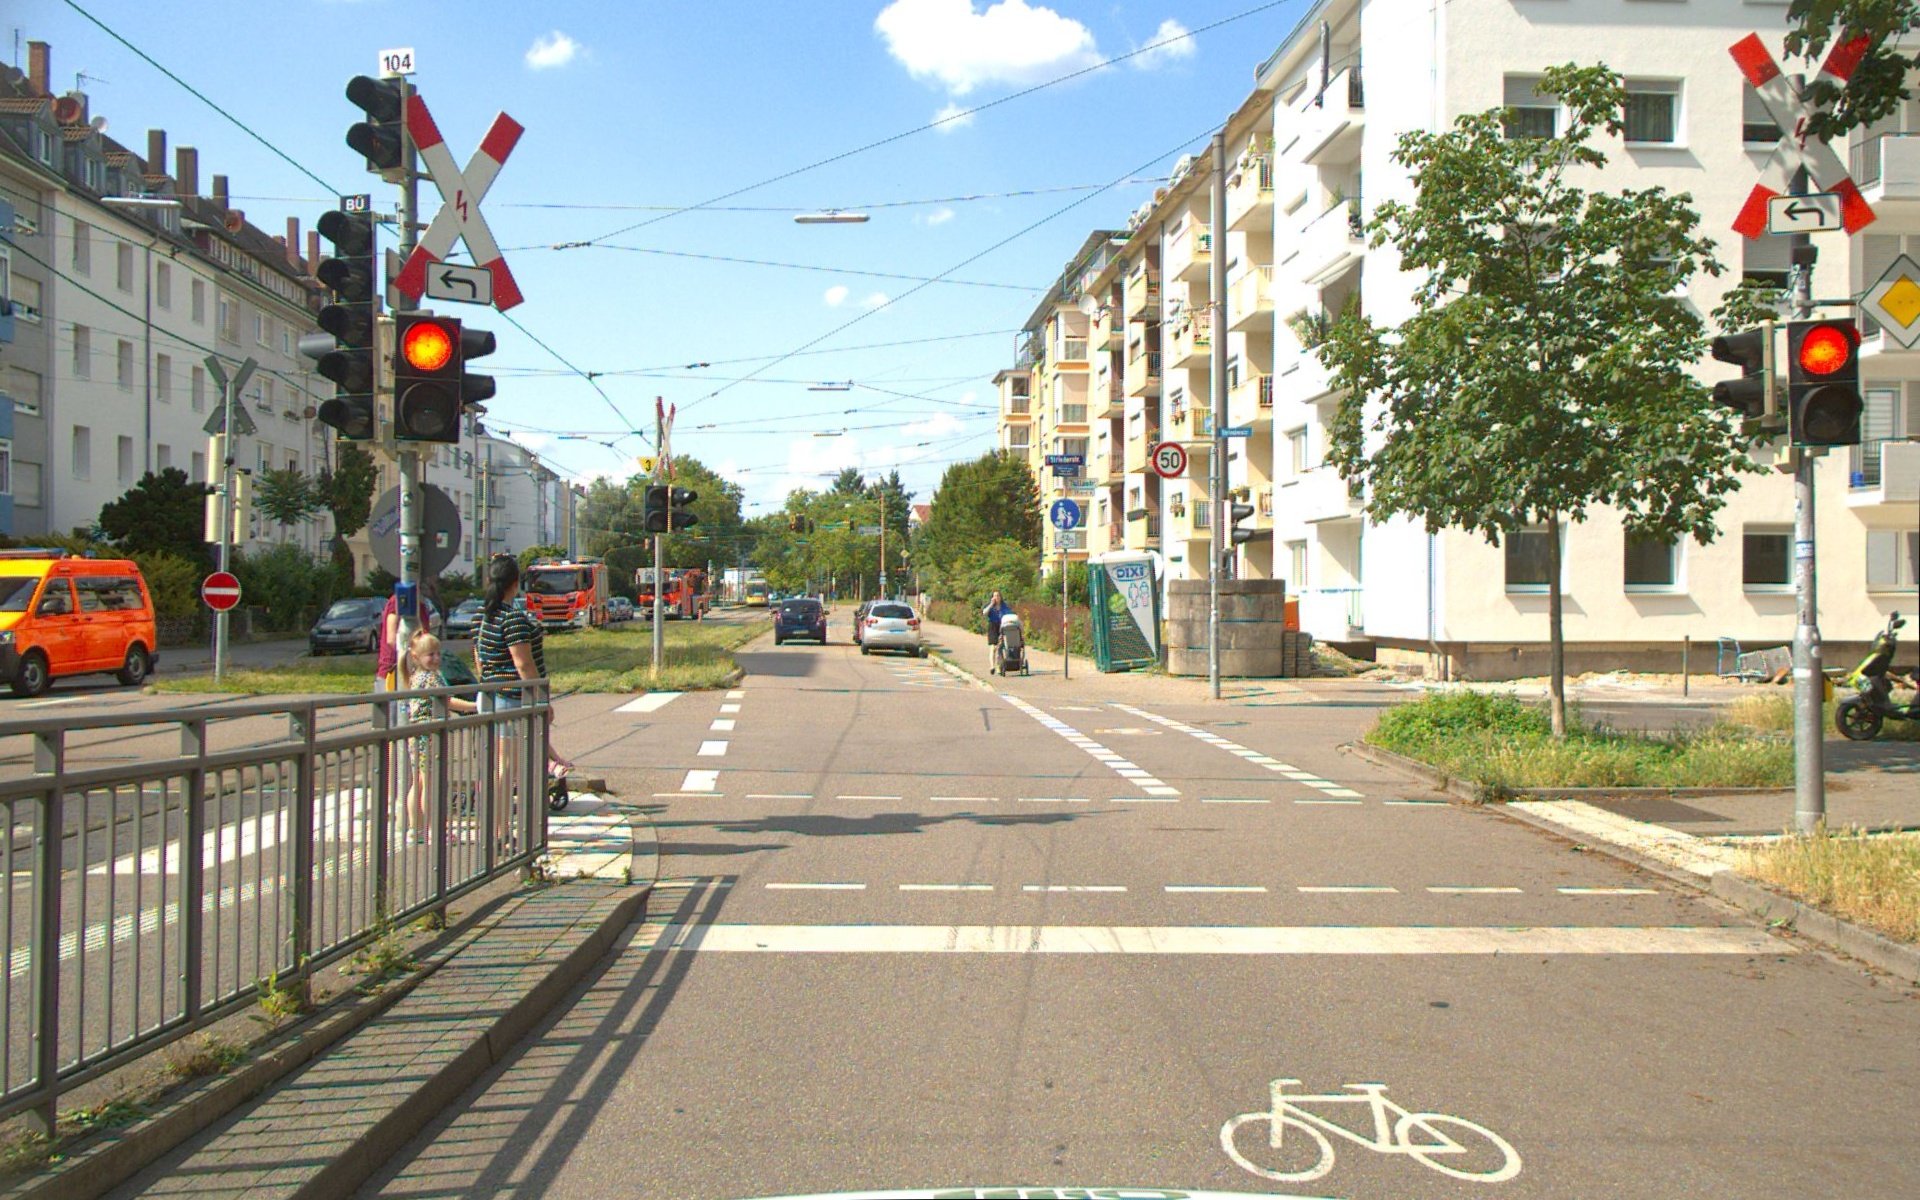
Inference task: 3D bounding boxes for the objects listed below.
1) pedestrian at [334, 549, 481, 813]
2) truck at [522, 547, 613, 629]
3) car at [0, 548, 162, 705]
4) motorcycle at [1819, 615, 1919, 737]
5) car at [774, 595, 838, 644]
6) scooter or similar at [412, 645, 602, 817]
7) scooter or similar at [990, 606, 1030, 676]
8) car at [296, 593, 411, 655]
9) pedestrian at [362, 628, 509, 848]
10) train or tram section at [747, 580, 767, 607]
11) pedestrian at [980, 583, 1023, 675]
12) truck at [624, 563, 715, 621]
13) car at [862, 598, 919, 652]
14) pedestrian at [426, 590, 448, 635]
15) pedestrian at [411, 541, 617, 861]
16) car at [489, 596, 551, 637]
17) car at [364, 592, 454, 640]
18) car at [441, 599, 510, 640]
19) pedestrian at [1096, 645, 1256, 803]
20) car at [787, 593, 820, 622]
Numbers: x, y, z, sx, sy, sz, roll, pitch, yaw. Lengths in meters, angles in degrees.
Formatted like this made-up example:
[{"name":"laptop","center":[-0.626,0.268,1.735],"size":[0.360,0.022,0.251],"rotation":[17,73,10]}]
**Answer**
[{"name":"pedestrian","center":[-3.657,0.524,10.997],"size":[0.691,1.677,0.637],"rotation":[2,-1,1]},{"name":"truck","center":[-16.676,-0.464,70.798],"size":[2.545,3.241,8.373],"rotation":[1,0,-5]},{"name":"car","center":[-15.180,0.397,26.943],"size":[1.952,2.315,4.834],"rotation":[-1,0,1]},{"name":"motorcycle","center":[10.225,0.803,17.603],"size":[0.565,1.236,1.826],"rotation":[-5,1,-32]},{"name":"car","center":[-5.096,0.629,55.130],"size":[1.708,1.533,4.000],"rotation":[1,0,0]},{"name":"scooter or similar","center":[-2.990,0.855,10.996],"size":[1.078,1.074,0.650],"rotation":[1,-1,-4]},{"name":"scooter or similar","center":[0.997,0.811,33.042],"size":[0.649,1.326,0.868],"rotation":[-3,0,-4]},{"name":"car","center":[-17.593,0.678,48.173],"size":[1.954,1.674,3.998],"rotation":[2,0,-3]},{"name":"pedestrian","center":[-3.069,0.773,9.657],"size":[0.631,1.201,0.789],"rotation":[0,-1,-33]},{"name":"train or tram section","center":[-24.147,-0.736,197.286],"size":[2.215,3.122,8.122],"rotation":[0,0,-6]},{"name":"pedestrian","center":[0.844,0.581,33.890],"size":[0.687,1.820,1.029],"rotation":[-3,0,-4]},{"name":"truck","center":[-18.595,-0.460,106.702],"size":[2.610,3.531,10.176],"rotation":[1,0,8]},{"name":"car","center":[-2.043,0.707,48.217],"size":[1.590,1.490,3.508],"rotation":[2,0,-3]},{"name":"pedestrian","center":[-21.746,0.513,68.790],"size":[0.692,1.825,0.863],"rotation":[0,0,-7]},{"name":"pedestrian","center":[-2.519,0.537,9.356],"size":[0.785,1.697,0.842],"rotation":[-1,-1,43]},{"name":"car","center":[-19.930,0.744,75.010],"size":[1.954,1.741,3.996],"rotation":[2,0,-5]},{"name":"car","center":[-17.989,0.528,54.182],"size":[1.733,1.467,3.998],"rotation":[2,0,-3]},{"name":"car","center":[-18.740,0.738,64.133],"size":[1.733,1.467,3.996],"rotation":[2,0,-4]},{"name":"pedestrian","center":[3.176,1.778,25.018],"size":[1.952,2.049,4.001],"rotation":[1,0,1]},{"name":"car","center":[-8.646,0.406,91.627],"size":[1.709,1.533,3.997],"rotation":[2,0,-4]}]
